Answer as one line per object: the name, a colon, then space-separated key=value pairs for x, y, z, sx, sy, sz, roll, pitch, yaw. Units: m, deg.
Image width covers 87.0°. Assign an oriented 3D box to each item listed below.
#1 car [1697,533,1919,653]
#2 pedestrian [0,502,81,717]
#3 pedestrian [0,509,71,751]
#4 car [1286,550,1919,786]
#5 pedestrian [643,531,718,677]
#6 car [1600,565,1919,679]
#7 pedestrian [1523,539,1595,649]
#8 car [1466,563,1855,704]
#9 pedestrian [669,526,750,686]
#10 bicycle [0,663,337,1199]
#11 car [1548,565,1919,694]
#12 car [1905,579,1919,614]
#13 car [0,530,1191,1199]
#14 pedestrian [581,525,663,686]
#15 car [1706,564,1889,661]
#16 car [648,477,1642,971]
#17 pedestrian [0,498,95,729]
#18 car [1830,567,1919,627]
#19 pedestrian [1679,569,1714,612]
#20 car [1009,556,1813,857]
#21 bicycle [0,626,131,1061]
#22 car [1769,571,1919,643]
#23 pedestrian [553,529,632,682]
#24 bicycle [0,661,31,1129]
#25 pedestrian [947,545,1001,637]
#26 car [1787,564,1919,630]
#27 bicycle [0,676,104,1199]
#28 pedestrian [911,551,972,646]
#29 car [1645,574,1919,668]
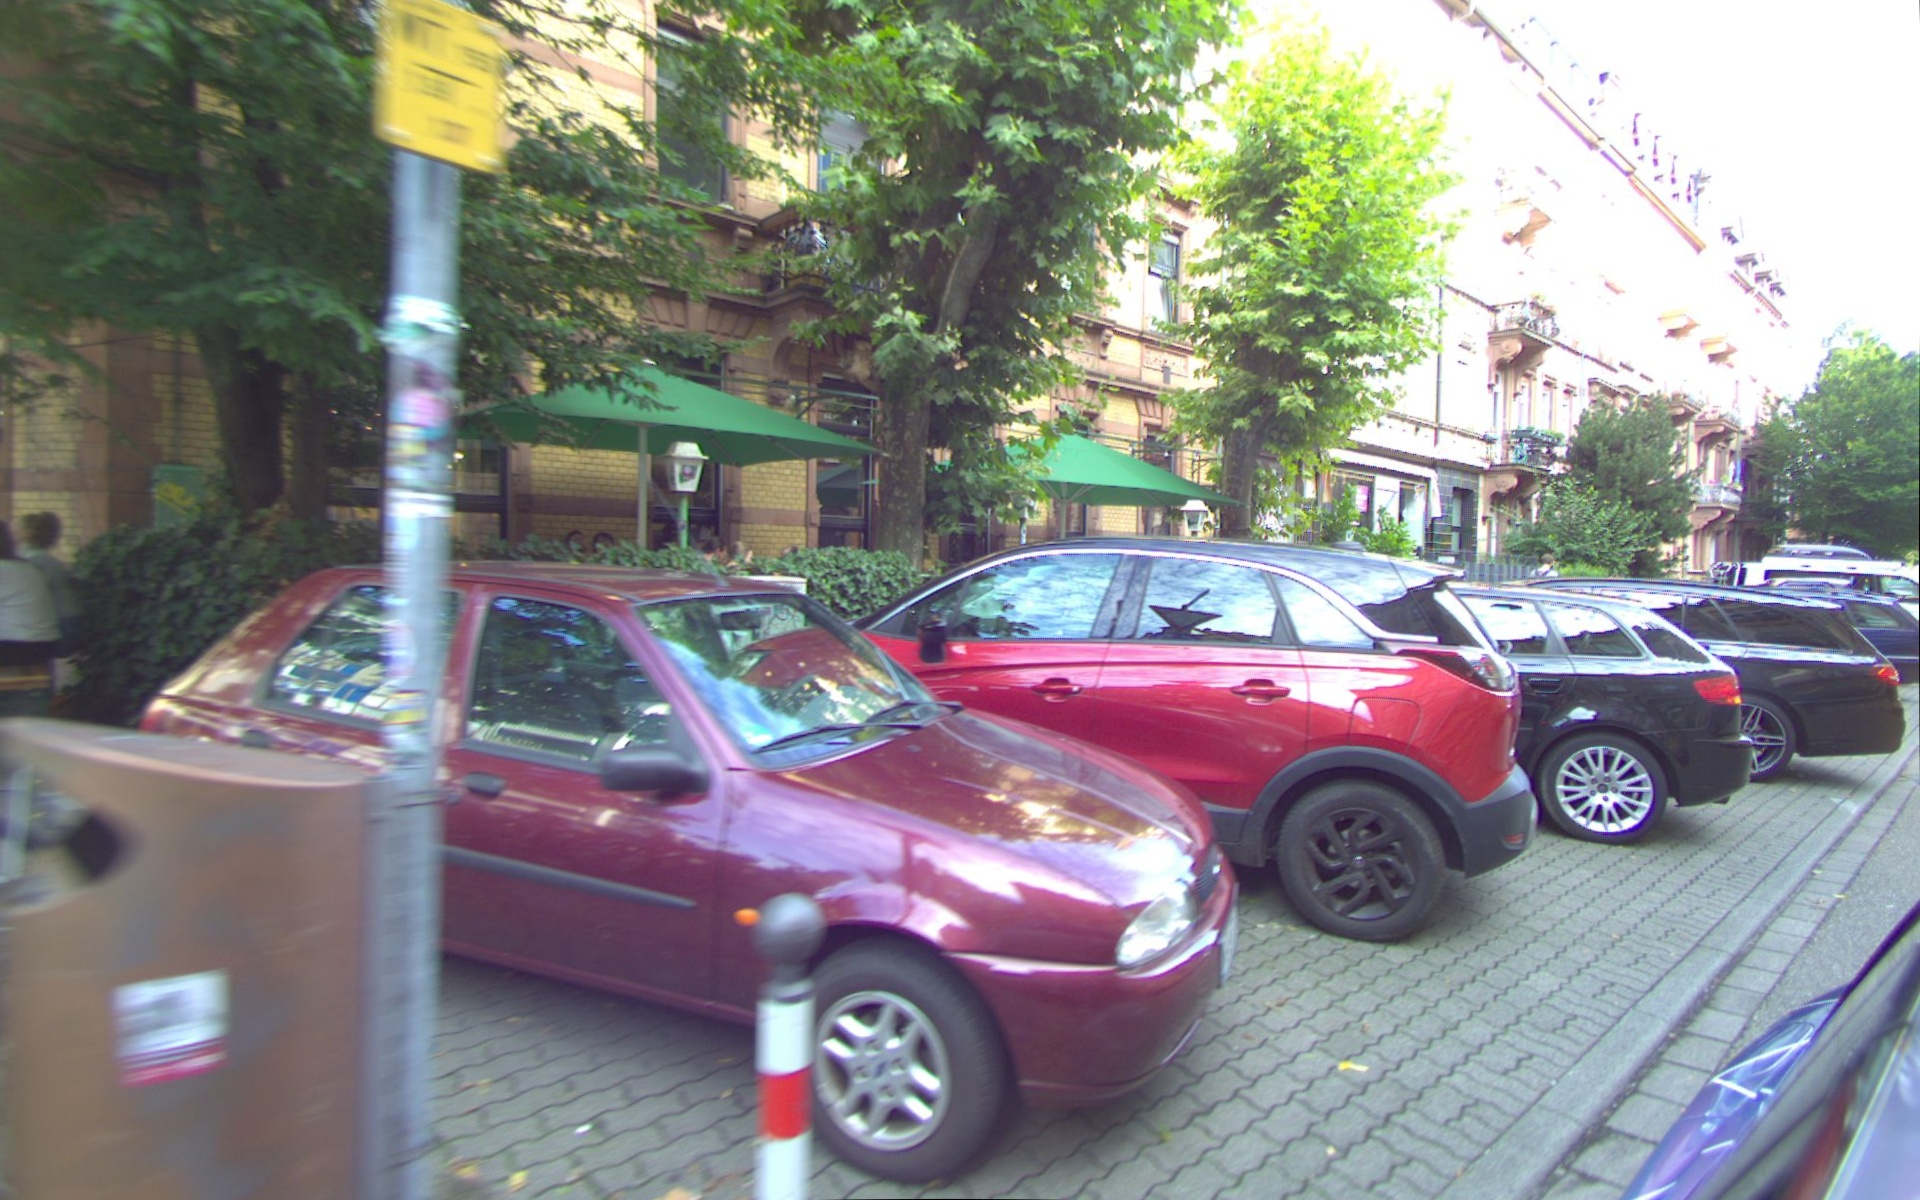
car: x=19.621 y=-0.175 z=22.220 sx=5.087 sy=2.434 sz=1.909 roll=2 pitch=2 yaw=16
pedestrian: x=-6.567 y=0.051 z=6.953 sx=0.672 sy=1.424 sz=0.746 roll=3 pitch=2 yaw=44
pedestrian: x=-5.665 y=0.159 z=5.945 sx=0.669 sy=1.368 sz=0.619 roll=3 pitch=2 yaw=44
car: x=5.394 y=0.447 z=8.848 sx=4.712 sy=1.474 sz=2.043 roll=4 pitch=2 yaw=21
pedestrian: x=-3.174 y=0.028 z=11.493 sx=0.628 sy=1.589 sz=0.561 roll=3 pitch=2 yaw=45
car: x=13.404 y=0.317 z=16.597 sx=4.396 sy=1.495 sz=1.885 roll=4 pitch=2 yaw=9
pedestrian: x=10.644 y=-0.117 z=18.002 sx=0.709 sy=1.901 sz=0.842 roll=0 pitch=2 yaw=-37
car: x=8.870 y=0.362 z=13.151 sx=3.661 sy=1.503 sz=1.736 roll=3 pitch=2 yaw=11
pedestrian: x=-2.725 y=0.050 z=11.012 sx=0.646 sy=1.662 sz=0.555 roll=6 pitch=4 yaw=44
bicycle: x=-1.794 y=0.724 z=1.218 sx=0.543 sy=1.052 sz=1.846 roll=5 pitch=4 yaw=18
car: x=11.318 y=0.372 z=14.647 sx=4.404 sy=1.482 sz=1.872 roll=4 pitch=2 yaw=14
car: x=48.621 y=-0.114 z=48.840 sx=3.941 sy=1.720 sz=1.845 roll=2 pitch=1 yaw=14
car: x=-1.276 y=0.534 z=3.624 sx=3.896 sy=1.475 sz=1.758 roll=2 pitch=2 yaw=21
pedestrian: x=-3.476 y=0.040 z=10.409 sx=0.628 sy=1.589 sz=0.561 roll=3 pitch=2 yaw=44
car: x=16.973 y=0.216 z=20.630 sx=2.441 sy=1.687 sz=1.337 roll=5 pitch=2 yaw=22
car: x=0.717 y=0.323 z=5.276 sx=4.307 sy=1.665 sz=1.808 roll=4 pitch=3 yaw=23
pedestrian: x=-6.092 y=0.072 z=6.510 sx=0.672 sy=1.424 sz=0.746 roll=3 pitch=2 yaw=44
car: x=32.438 y=-0.056 z=34.031 sx=4.344 sy=1.844 sz=1.746 roll=3 pitch=3 yaw=17
pedestrian: x=27.077 y=-0.351 z=37.214 sx=0.927 sy=1.515 sz=0.800 roll=4 pitch=2 yaw=42
car: x=2.722 y=0.486 z=6.962 sx=4.368 sy=1.475 sz=1.927 roll=2 pitch=2 yaw=24
bicycle: x=-2.774 y=0.651 z=1.987 sx=0.344 sy=1.052 sz=1.845 roll=5 pitch=4 yaw=21
car: x=23.847 y=0.178 z=25.933 sx=4.391 sy=1.754 sz=1.992 roll=1 pitch=1 yaw=14
pedestrian: x=-3.966 y=0.043 z=10.915 sx=0.628 sy=1.589 sz=0.561 roll=3 pitch=2 yaw=44
bicycle: x=-2.643 y=0.703 z=1.441 sx=0.344 sy=1.052 sz=2.005 roll=5 pitch=4 yaw=21
pedestrian: x=0.199 y=-0.135 z=14.190 sx=0.464 sy=1.233 sz=0.556 roll=5 pitch=4 yaw=39
car: x=29.010 y=-0.054 z=31.615 sx=1.779 sy=1.806 sz=4.645 roll=3 pitch=3 yaw=-42
bicycle: x=-2.284 y=0.740 z=1.295 sx=0.455 sy=1.052 sz=1.846 roll=5 pitch=4 yaw=18
pedestrian: x=-0.246 y=-0.036 z=13.775 sx=0.486 sy=1.233 sz=0.640 roll=5 pitch=4 yaw=39
car: x=15.228 y=0.339 z=18.593 sx=3.927 sy=1.477 sz=1.748 roll=3 pitch=2 yaw=7
